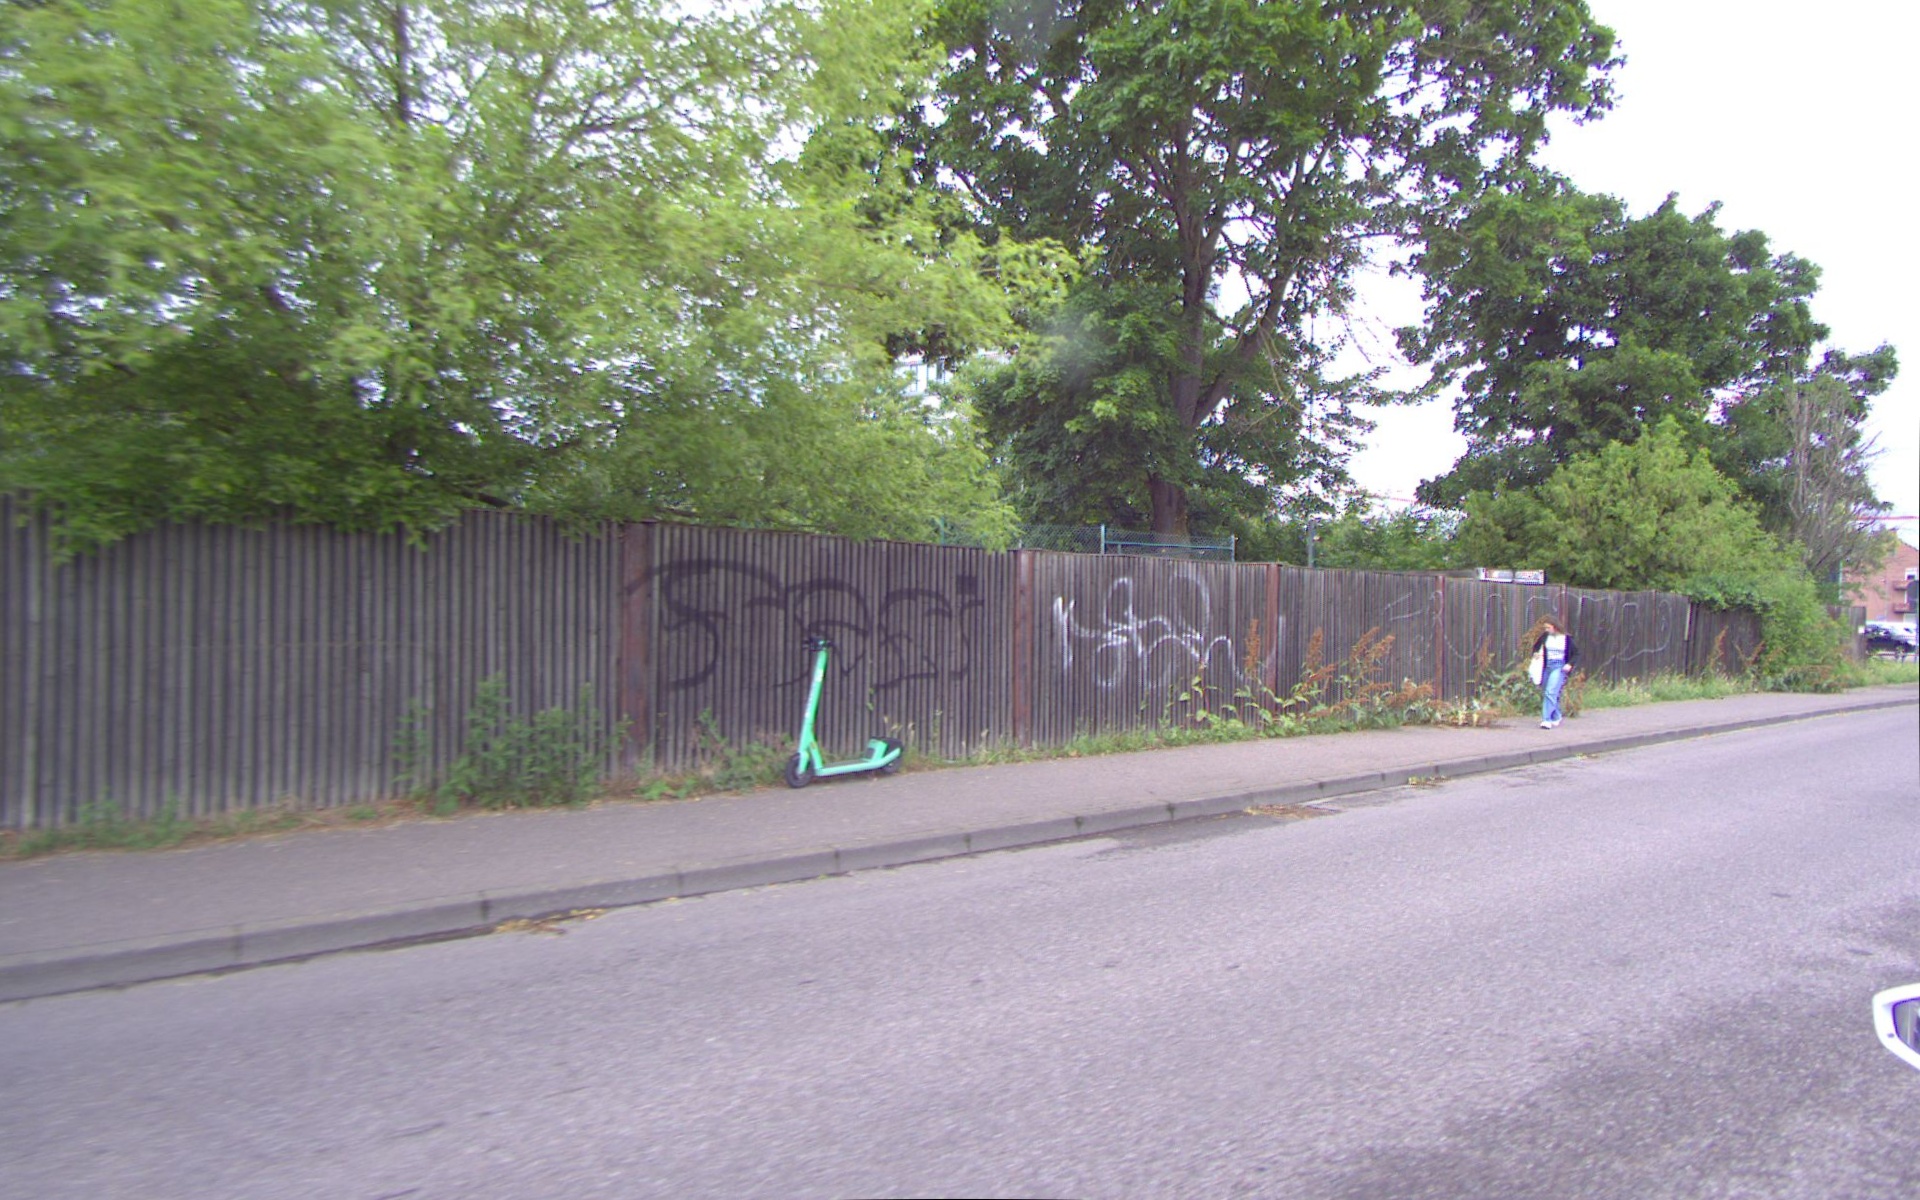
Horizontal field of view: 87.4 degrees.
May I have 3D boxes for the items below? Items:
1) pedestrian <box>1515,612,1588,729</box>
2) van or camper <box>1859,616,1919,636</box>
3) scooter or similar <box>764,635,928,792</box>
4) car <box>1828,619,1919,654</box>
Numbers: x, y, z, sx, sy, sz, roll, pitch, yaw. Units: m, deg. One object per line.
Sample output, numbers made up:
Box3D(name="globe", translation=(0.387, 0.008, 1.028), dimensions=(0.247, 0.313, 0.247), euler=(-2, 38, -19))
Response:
Box3D(name="pedestrian", translation=(8.133, 0.944, 13.818), dimensions=(0.717, 1.549, 0.608), euler=(1, 0, -35))
Box3D(name="van or camper", translation=(100.902, 2.759, 108.030), dimensions=(1.969, 2.040, 6.171), euler=(1, -1, -19))
Box3D(name="scooter or similar", translation=(-0.922, 0.891, 8.270), dimensions=(1.291, 1.186, 0.420), euler=(1, 0, -36))
Box3D(name="car", translation=(51.656, 1.995, 56.217), dimensions=(2.046, 1.838, 4.190), euler=(1, -1, -19))
